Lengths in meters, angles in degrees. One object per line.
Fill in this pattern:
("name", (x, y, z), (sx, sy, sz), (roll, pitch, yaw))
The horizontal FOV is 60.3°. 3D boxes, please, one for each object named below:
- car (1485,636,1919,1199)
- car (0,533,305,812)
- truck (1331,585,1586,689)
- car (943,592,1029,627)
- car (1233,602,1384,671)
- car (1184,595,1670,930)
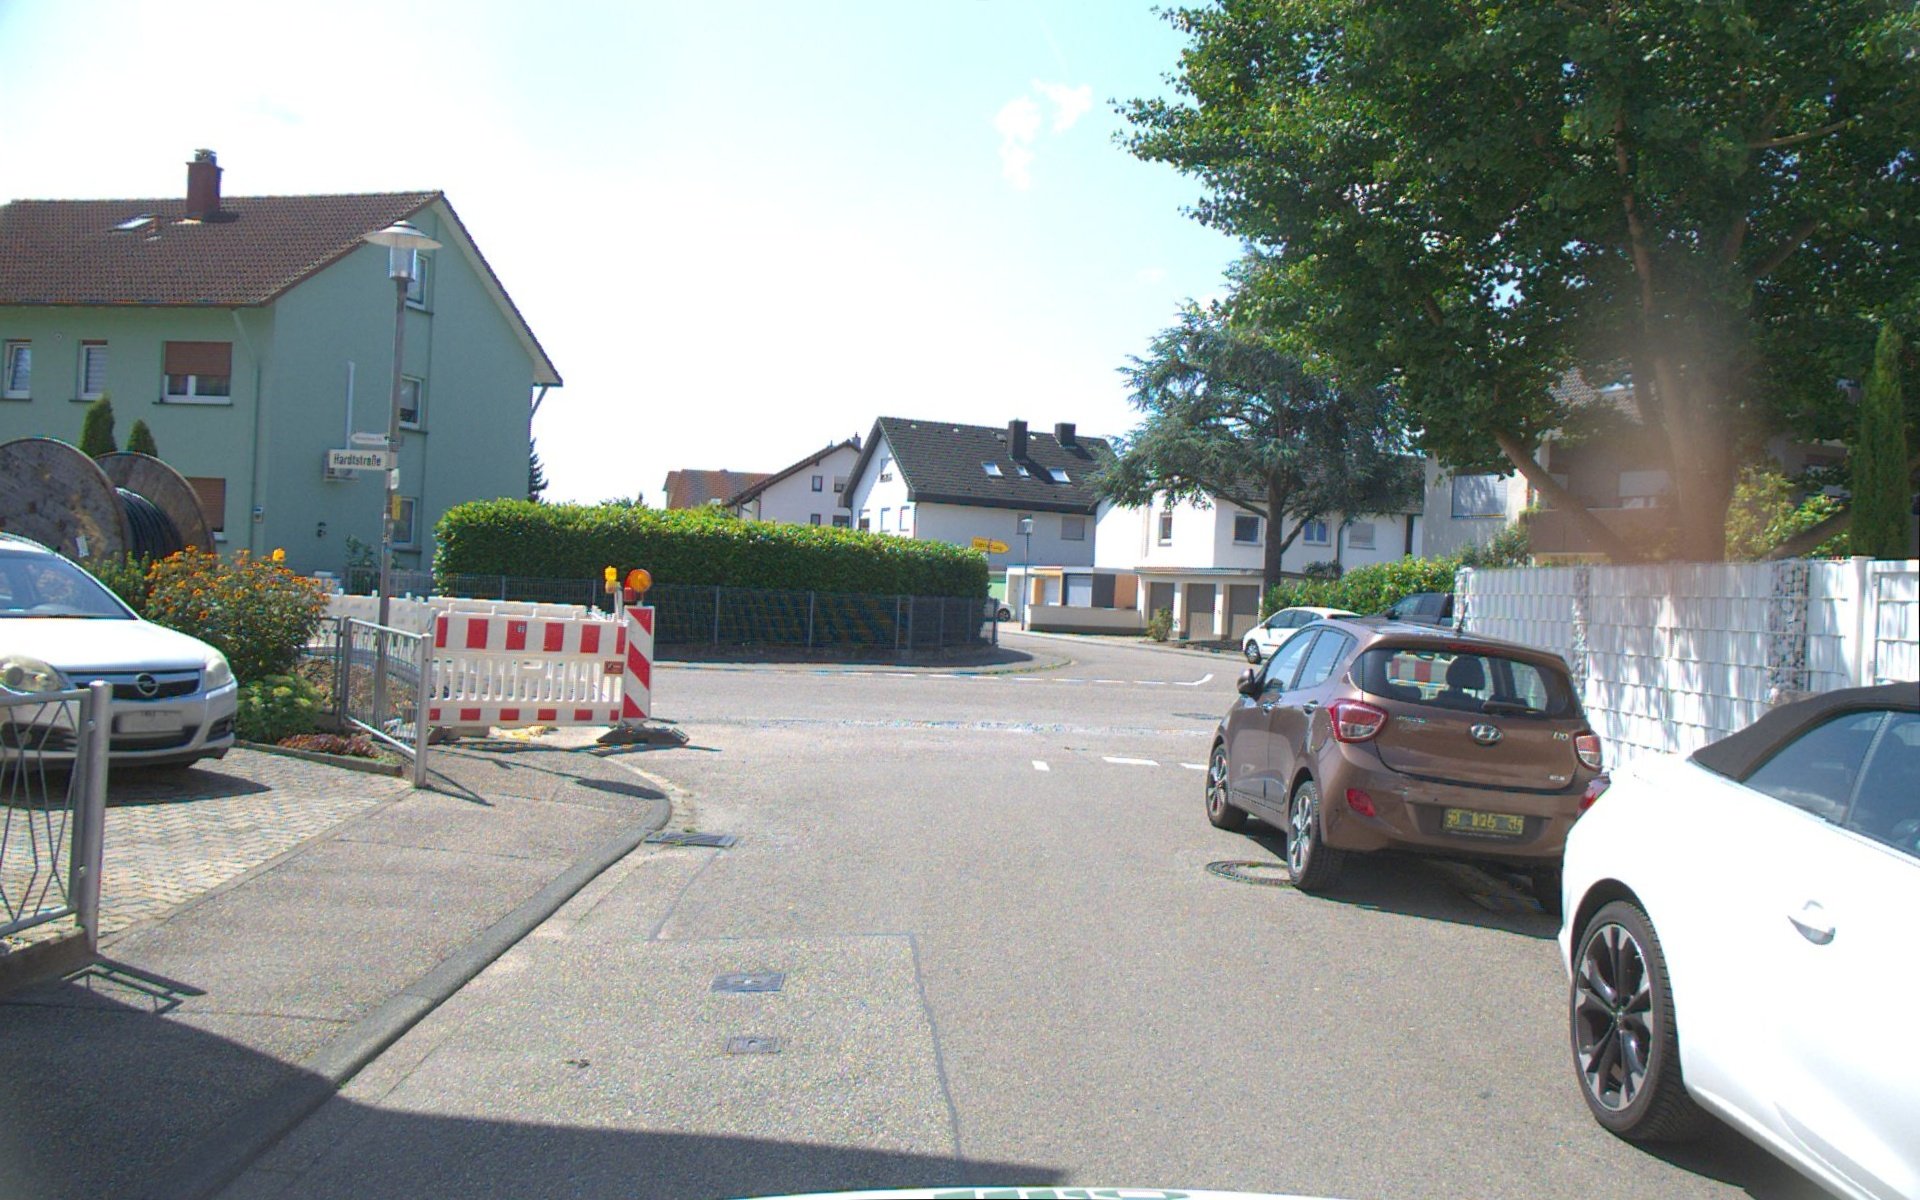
("car", (3.004, 0.920, 3.809), (1.858, 1.453, 4.735), (3, 0, -3))
("car", (-6.518, 0.320, 10.875), (4.377, 1.511, 1.788), (3, 0, 31))
("truck", (11.249, 0.788, 37.830), (2.334, 2.048, 5.666), (3, 0, -26))
("car", (1.189, 0.432, 76.580), (3.550, 1.433, 1.772), (3, 0, -23))
("car", (9.168, 0.937, 43.822), (1.775, 1.590, 4.111), (3, 1, -25))
("car", (2.700, 0.838, 10.583), (1.679, 1.558, 4.033), (6, 0, -3))
